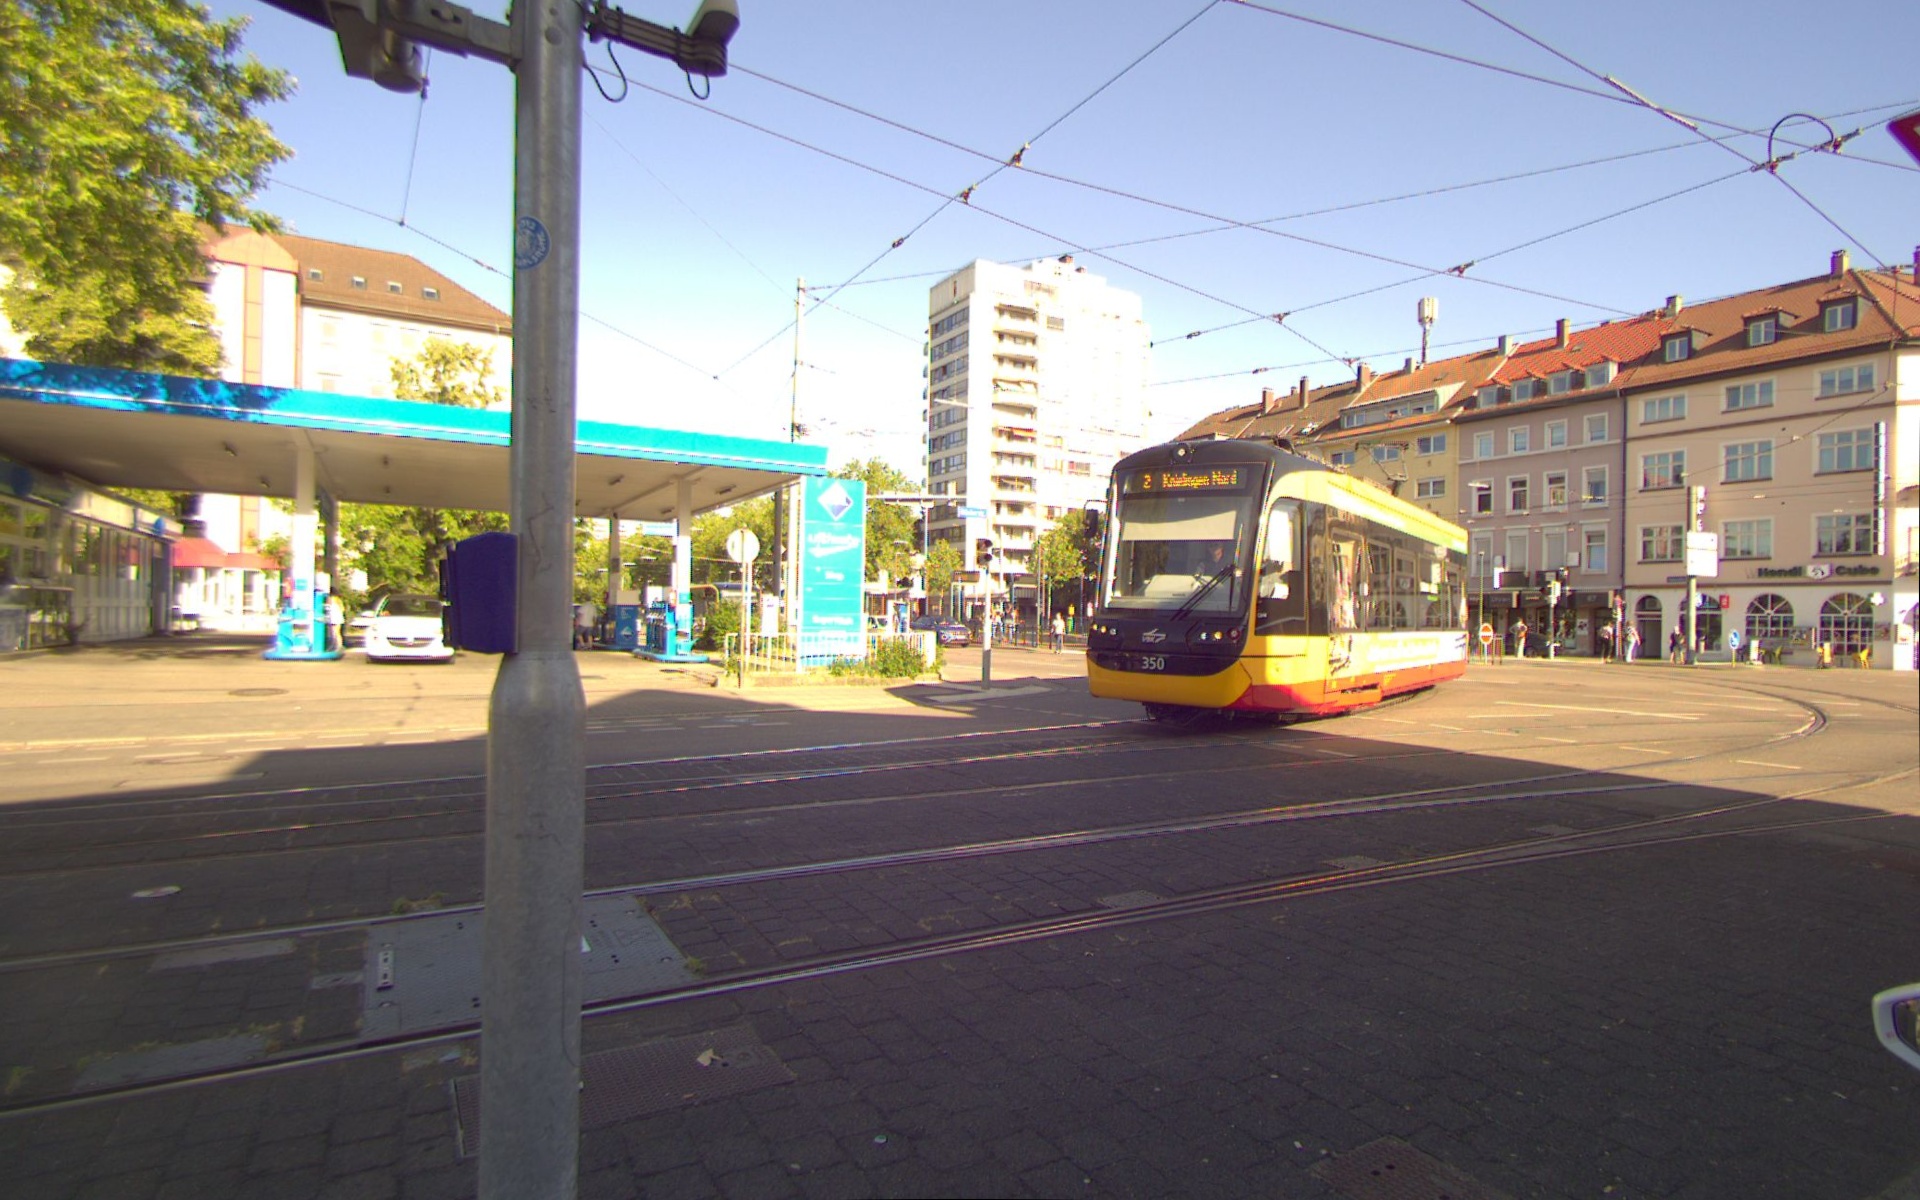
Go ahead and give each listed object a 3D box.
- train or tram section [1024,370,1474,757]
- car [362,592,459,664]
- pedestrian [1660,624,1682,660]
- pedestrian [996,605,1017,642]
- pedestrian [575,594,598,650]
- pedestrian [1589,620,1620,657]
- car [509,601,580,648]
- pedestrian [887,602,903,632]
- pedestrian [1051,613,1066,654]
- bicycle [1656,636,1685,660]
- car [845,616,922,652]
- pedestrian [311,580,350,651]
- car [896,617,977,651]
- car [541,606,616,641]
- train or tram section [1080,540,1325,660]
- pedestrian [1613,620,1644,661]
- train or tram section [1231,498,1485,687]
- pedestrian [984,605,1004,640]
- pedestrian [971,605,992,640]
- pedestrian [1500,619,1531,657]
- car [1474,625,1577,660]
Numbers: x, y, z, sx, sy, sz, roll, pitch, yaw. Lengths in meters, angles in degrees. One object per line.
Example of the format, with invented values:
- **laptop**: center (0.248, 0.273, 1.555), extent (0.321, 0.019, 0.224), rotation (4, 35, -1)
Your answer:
- **train or tram section**: center (5.672, -0.226, 16.221), extent (2.893, 3.864, 13.011), rotation (0, -1, 35)
- **car**: center (-12.213, 0.599, 22.347), extent (1.737, 1.461, 3.543), rotation (1, -1, -29)
- **pedestrian**: center (34.053, 2.014, 48.086), extent (0.743, 1.692, 0.579), rotation (2, 0, -30)
- **pedestrian**: center (2.248, 1.139, 48.946), extent (0.747, 1.756, 0.797), rotation (0, 0, -28)
- **pedestrian**: center (-11.739, 0.696, 31.540), extent (0.490, 1.724, 0.500), rotation (1, -1, 4)
- **pedestrian**: center (27.974, 1.666, 43.611), extent (0.817, 1.598, 0.727), rotation (2, 0, -2)
- **car**: center (-13.562, 0.781, 32.674), extent (1.737, 1.461, 3.543), rotation (1, -1, -29)
- **pedestrian**: center (-3.846, 0.989, 59.362), extent (0.747, 1.756, 0.797), rotation (0, 0, -28)
- **pedestrian**: center (3.918, 1.340, 40.016), extent (0.602, 1.598, 0.834), rotation (0, 0, 5)
- **bicycle**: center (33.977, 2.307, 48.047), extent (1.479, 1.091, 0.570), rotation (2, 0, -30)
- **car**: center (-3.600, 1.553, 46.733), extent (1.871, 1.550, 3.963), rotation (1, -1, -33)
- **pedestrian**: center (-15.483, 0.389, 24.703), extent (0.492, 1.724, 0.647), rotation (0, -1, 34)
- **car**: center (-1.173, 1.617, 48.363), extent (1.875, 1.550, 3.955), rotation (1, -2, -39)
- **car**: center (-16.874, 1.041, 44.599), extent (1.722, 1.461, 3.572), rotation (1, -1, 5)
- **train or tram section**: center (8.647, 0.093, 38.421), extent (2.897, 3.864, 12.064), rotation (1, -1, -20)
- **pedestrian**: center (26.346, 1.596, 39.612), extent (0.817, 1.598, 0.552), rotation (2, 0, -2)
- **train or tram section**: center (9.910, -0.050, 27.071), extent (2.882, 3.864, 12.828), rotation (1, -1, 6)
- **pedestrian**: center (1.726, 1.135, 51.109), extent (0.747, 1.756, 0.797), rotation (0, 0, -28)
- **pedestrian**: center (1.091, 1.115, 50.885), extent (0.747, 1.756, 0.797), rotation (0, 0, -28)
- **pedestrian**: center (24.411, 1.671, 44.157), extent (0.821, 1.598, 0.847), rotation (2, 0, -20)
- **car**: center (30.814, 2.295, 54.837), extent (2.277, 1.734, 4.350), rotation (2, 0, -27)
